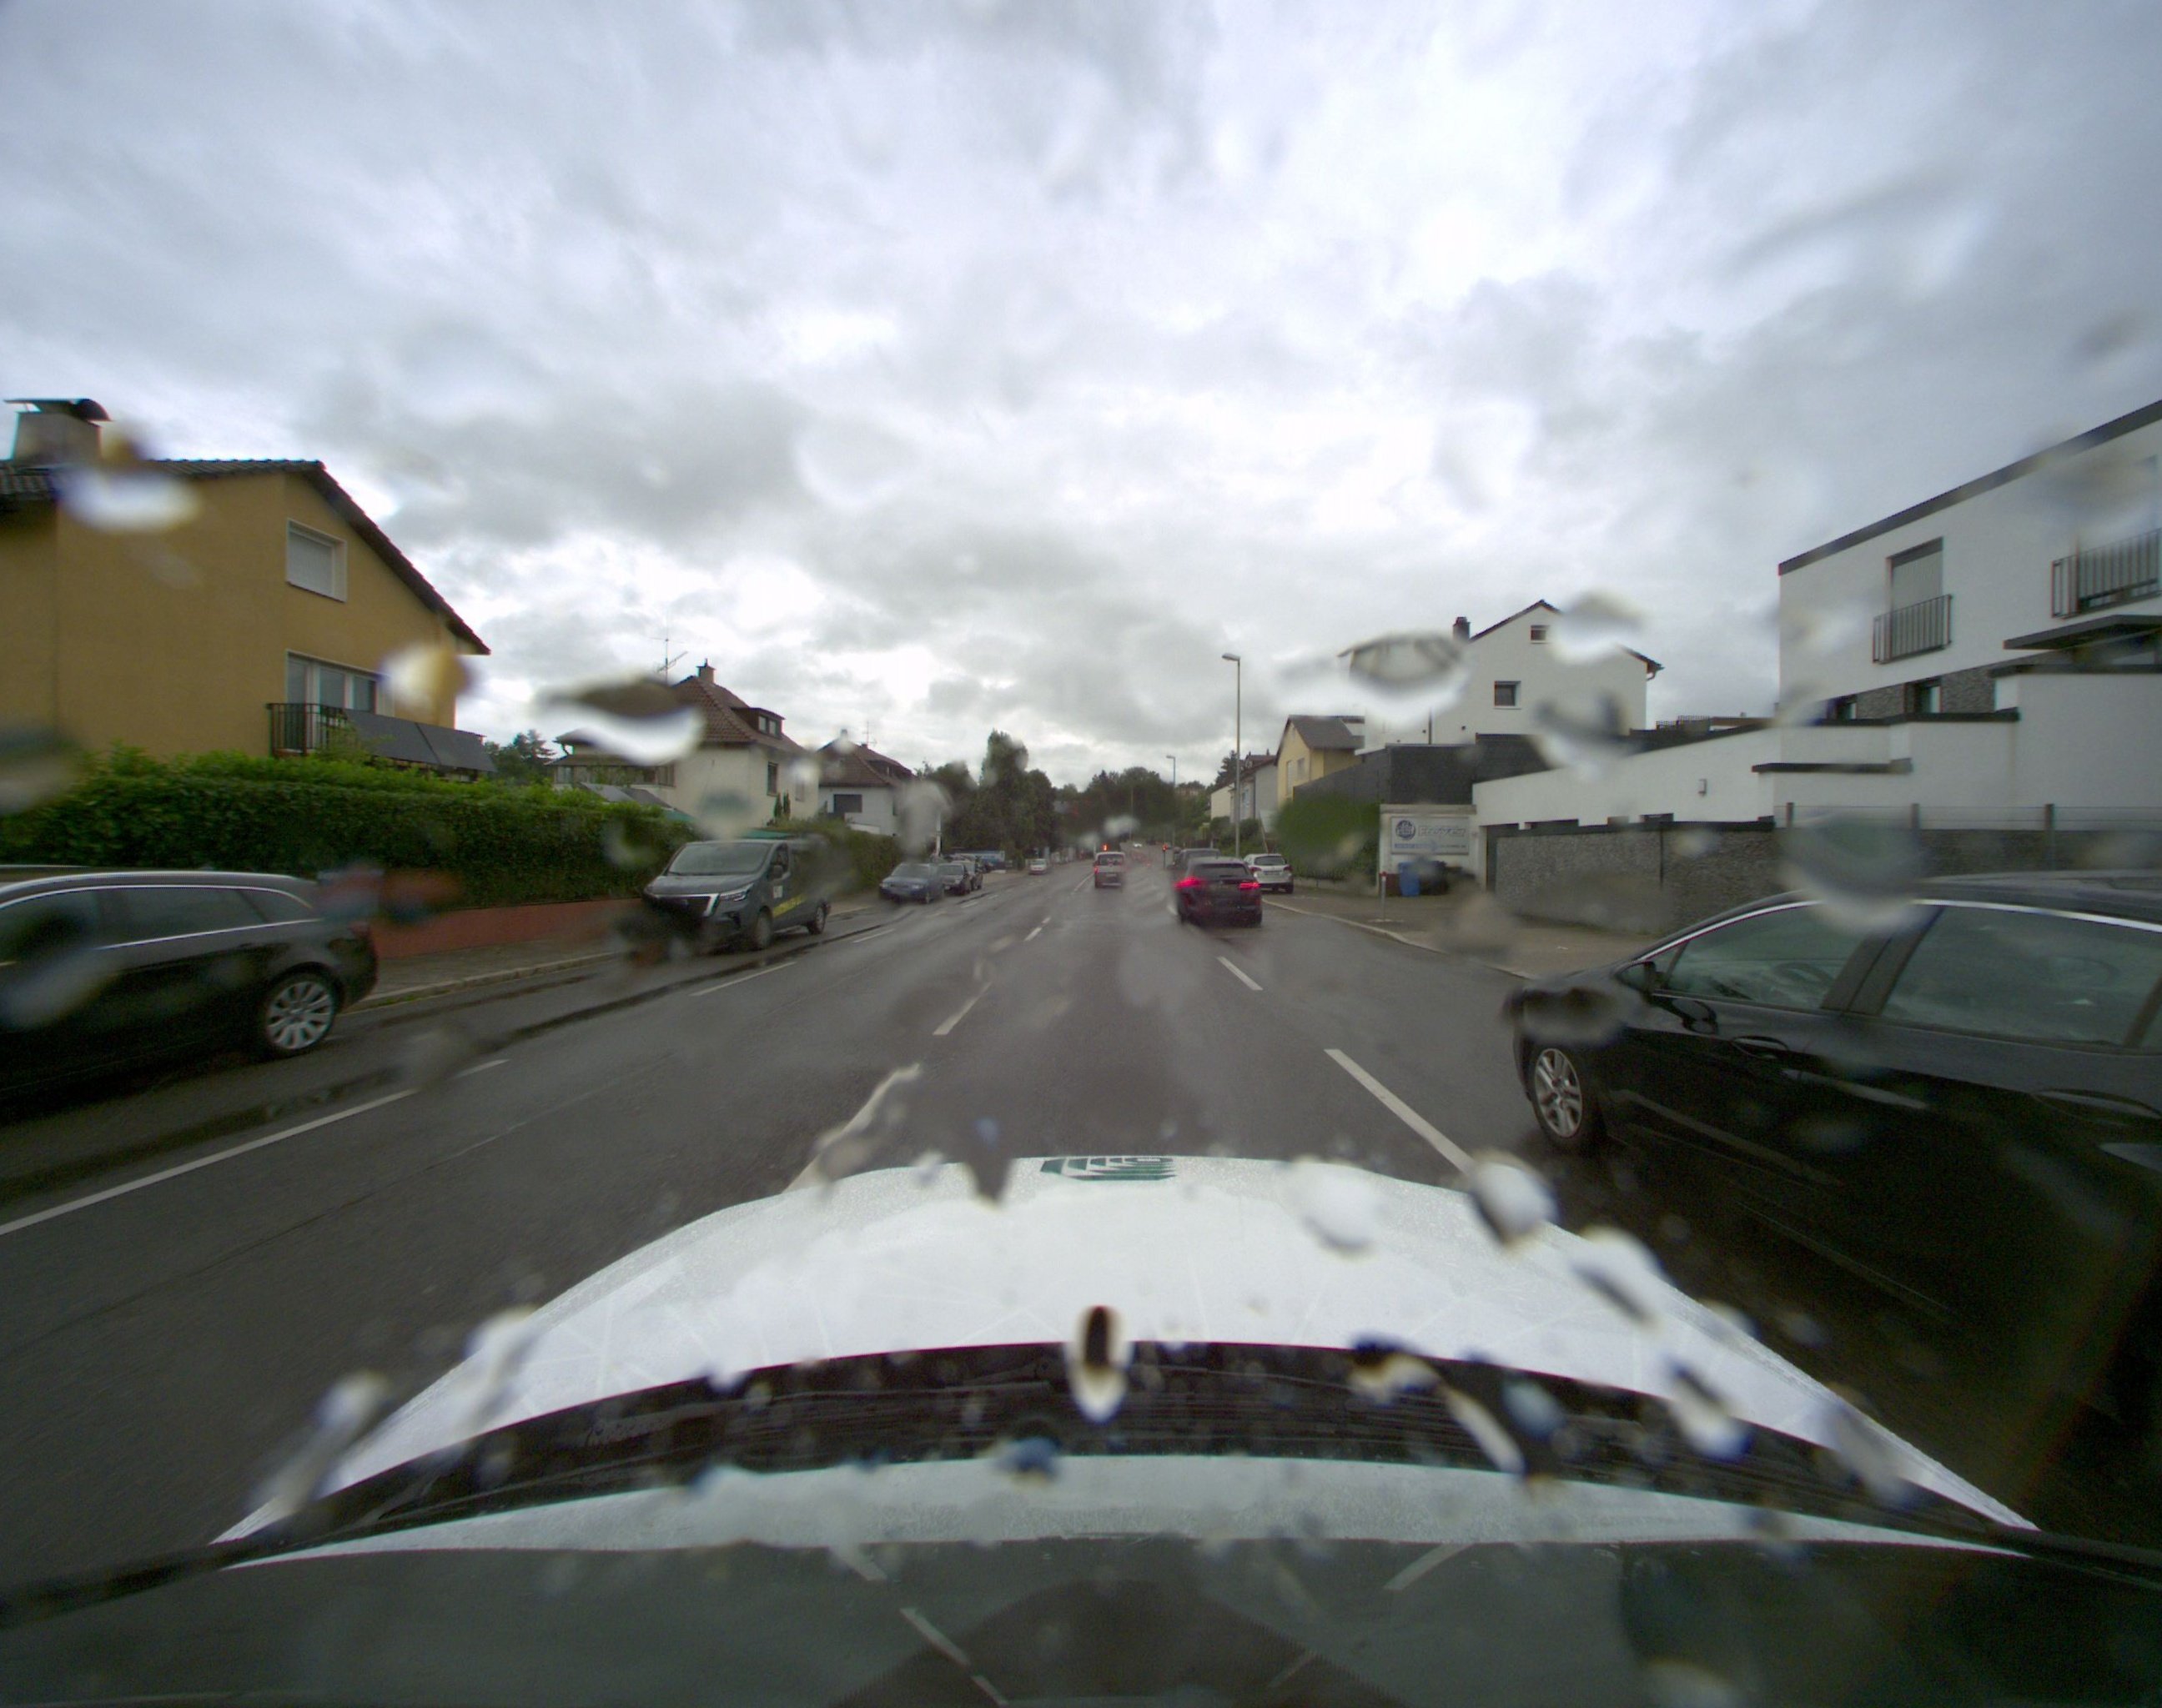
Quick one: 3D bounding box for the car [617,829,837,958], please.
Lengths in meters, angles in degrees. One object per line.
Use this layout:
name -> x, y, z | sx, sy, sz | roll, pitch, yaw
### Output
car -> -6.317, 0.634, 15.313 | 1.907, 2.003, 5.086 | 0, 0, 0

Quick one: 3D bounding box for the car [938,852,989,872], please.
car -> -10.400, 0.691, 72.295 | 4.057, 1.516, 1.856 | 3, 0, 1

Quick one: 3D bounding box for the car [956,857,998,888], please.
car -> -5.397, 0.945, 42.652 | 1.752, 1.532, 4.206 | 0, 0, -1

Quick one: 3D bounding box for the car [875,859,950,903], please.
car -> -6.231, 0.970, 30.663 | 1.750, 1.532, 4.289 | 0, 0, 2

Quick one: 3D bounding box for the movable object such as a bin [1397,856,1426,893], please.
movable object such as a bin -> 10.342, 0.637, 25.529 | 0.593, 1.105, 0.667 | -3, 0, 1

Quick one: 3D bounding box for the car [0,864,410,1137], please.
car -> -6.958, 0.846, 5.113 | 1.744, 1.517, 4.526 | 0, 0, 0

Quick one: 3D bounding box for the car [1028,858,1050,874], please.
car -> -4.306, 1.169, 83.377 | 1.877, 1.585, 4.002 | 0, 0, 2

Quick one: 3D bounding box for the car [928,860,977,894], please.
car -> -5.741, 0.999, 36.791 | 1.546, 1.431, 4.013 | 0, 0, 0

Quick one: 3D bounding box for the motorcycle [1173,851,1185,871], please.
motorcycle -> 8.085, 0.573, 67.099 | 0.700, 1.509, 2.151 | -3, -1, 2

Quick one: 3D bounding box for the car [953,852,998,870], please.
car -> -10.276, 0.694, 79.400 | 4.057, 1.516, 1.856 | 3, 0, 1

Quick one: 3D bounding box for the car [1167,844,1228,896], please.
car -> 4.229, 0.561, 30.095 | 1.831, 1.767, 4.002 | 0, 0, 2

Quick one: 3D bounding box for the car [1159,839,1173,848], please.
car -> 21.949, -2.799, 210.141 | 2.518, 2.013, 5.600 | 0, 4, -5

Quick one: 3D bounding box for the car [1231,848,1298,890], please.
car -> 7.059, 0.545, 31.732 | 1.694, 1.510, 4.536 | 0, 0, 2

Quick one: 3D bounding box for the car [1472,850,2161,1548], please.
car -> 3.163, 0.716, 2.906 | 1.749, 1.449, 4.002 | 0, 0, 2

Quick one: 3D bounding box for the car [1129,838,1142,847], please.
car -> 14.391, -3.053, 215.440 | 2.521, 2.013, 5.593 | 0, 3, -9

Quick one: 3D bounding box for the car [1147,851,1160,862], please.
car -> 14.889, 0.483, 167.925 | 2.512, 2.013, 5.612 | 0, 3, 2

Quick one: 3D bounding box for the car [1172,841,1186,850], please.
car -> 22.976, -1.999, 191.881 | 2.514, 2.013, 5.606 | 0, 3, -1

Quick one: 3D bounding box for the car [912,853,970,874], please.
car -> -10.665, 0.733, 62.262 | 4.057, 1.516, 1.856 | 1, 0, 1

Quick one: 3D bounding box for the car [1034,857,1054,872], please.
car -> -4.058, 1.190, 90.440 | 1.877, 1.585, 4.002 | 0, 0, 2

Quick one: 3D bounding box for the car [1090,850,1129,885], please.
car -> 1.539, 0.703, 43.835 | 1.986, 1.737, 4.002 | 0, 0, 2

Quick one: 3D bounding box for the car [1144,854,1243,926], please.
car -> 2.493, 0.766, 19.006 | 1.985, 1.484, 4.004 | 0, 0, 3

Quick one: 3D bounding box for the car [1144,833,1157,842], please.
car -> 19.347, -4.659, 226.388 | 2.518, 2.012, 5.600 | 1, 5, -6

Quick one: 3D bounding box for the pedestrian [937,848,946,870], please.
pedestrian -> -11.616, 0.400, 67.988 | 0.599, 1.791, 0.649 | 2, 0, -3

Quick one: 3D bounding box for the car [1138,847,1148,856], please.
car -> 13.806, -0.567, 181.625 | 1.986, 1.772, 4.002 | -2, 0, 2

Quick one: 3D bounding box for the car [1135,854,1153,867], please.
car -> 7.783, 0.808, 101.291 | 1.986, 1.578, 4.001 | -2, 0, 1

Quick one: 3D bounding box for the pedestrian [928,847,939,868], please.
pedestrian -> -12.408, 0.289, 68.545 | 0.597, 1.665, 0.652 | 2, 0, 10
